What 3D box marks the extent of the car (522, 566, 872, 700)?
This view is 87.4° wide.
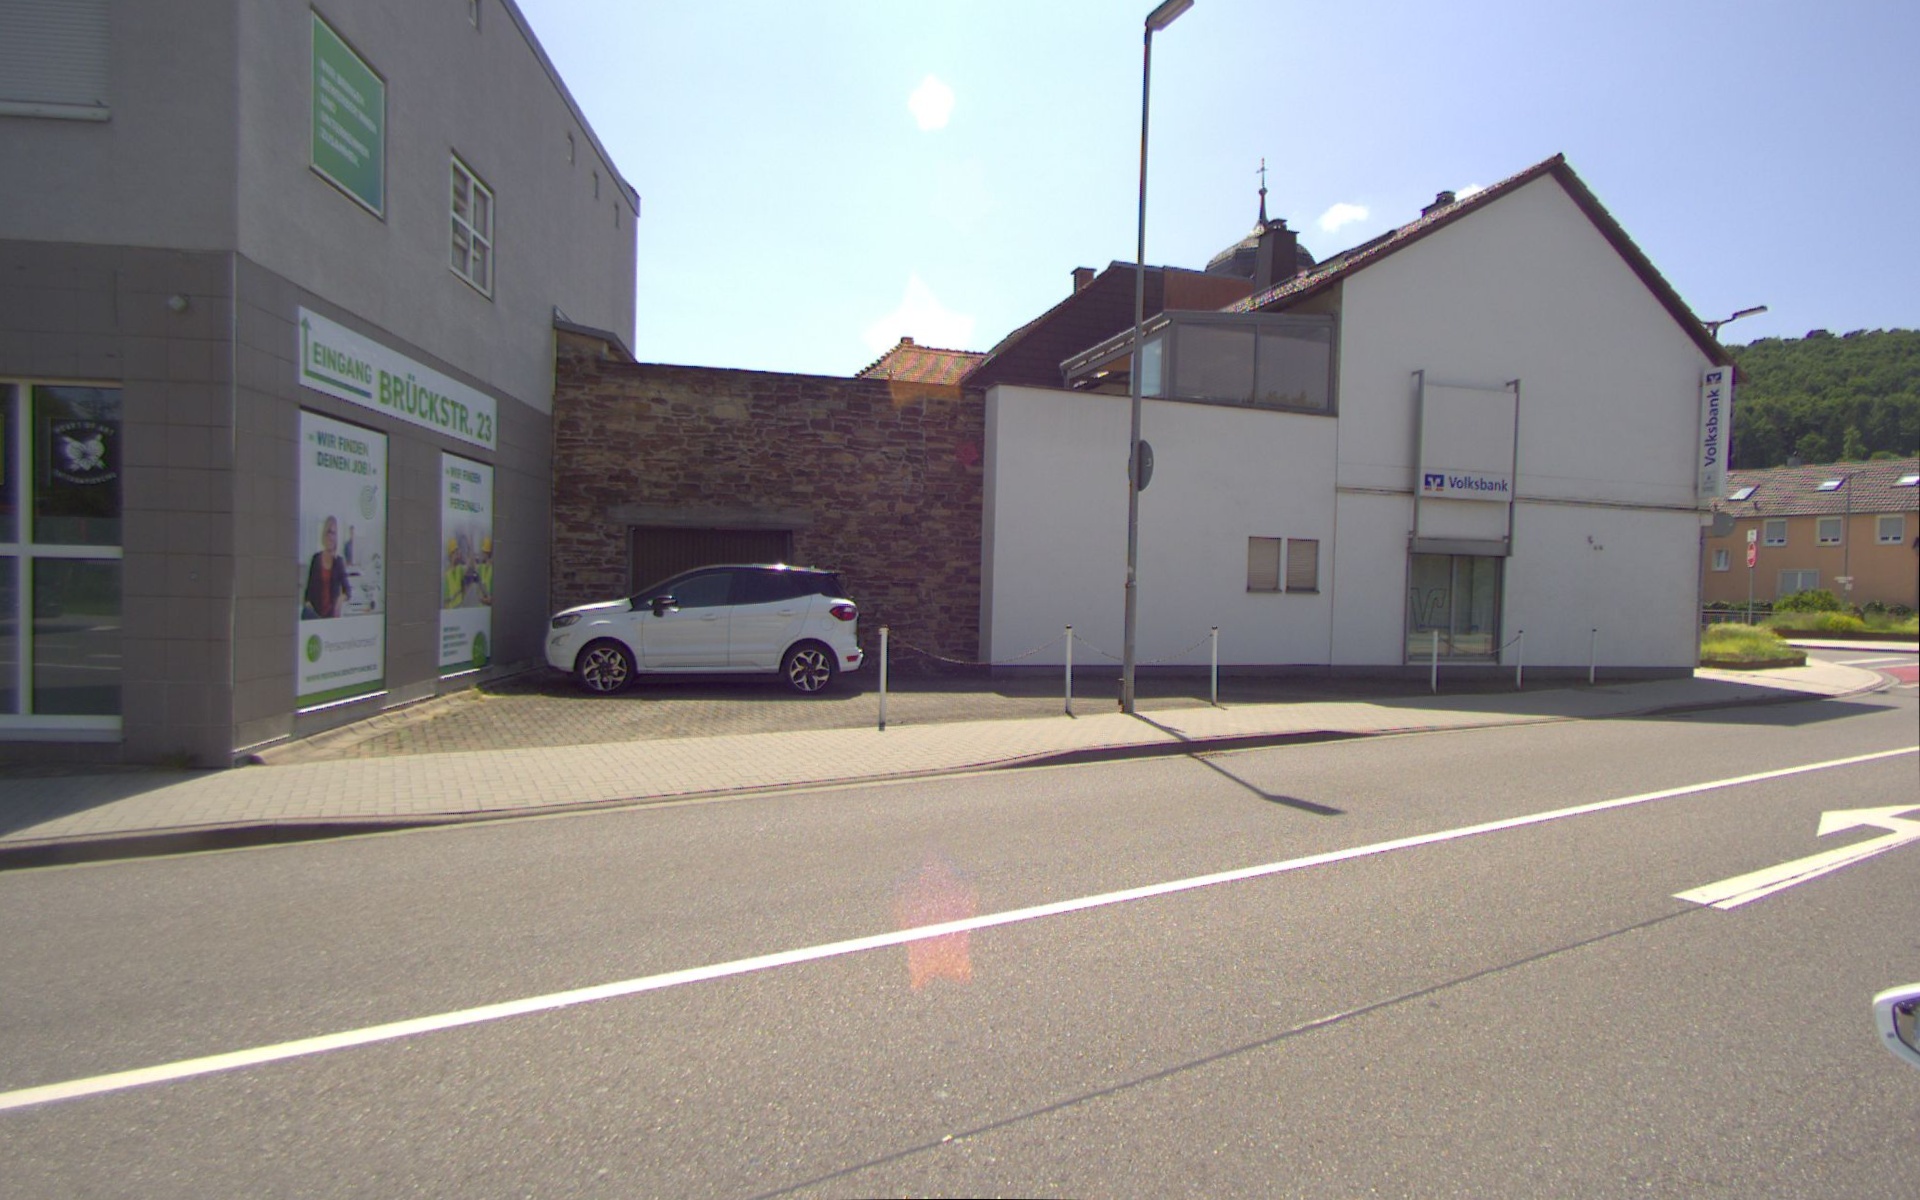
[{"bbox_3d":[-3.355,0.418,13.369,4.177,1.596,1.996,1,0,-11],"label":"car"}]
